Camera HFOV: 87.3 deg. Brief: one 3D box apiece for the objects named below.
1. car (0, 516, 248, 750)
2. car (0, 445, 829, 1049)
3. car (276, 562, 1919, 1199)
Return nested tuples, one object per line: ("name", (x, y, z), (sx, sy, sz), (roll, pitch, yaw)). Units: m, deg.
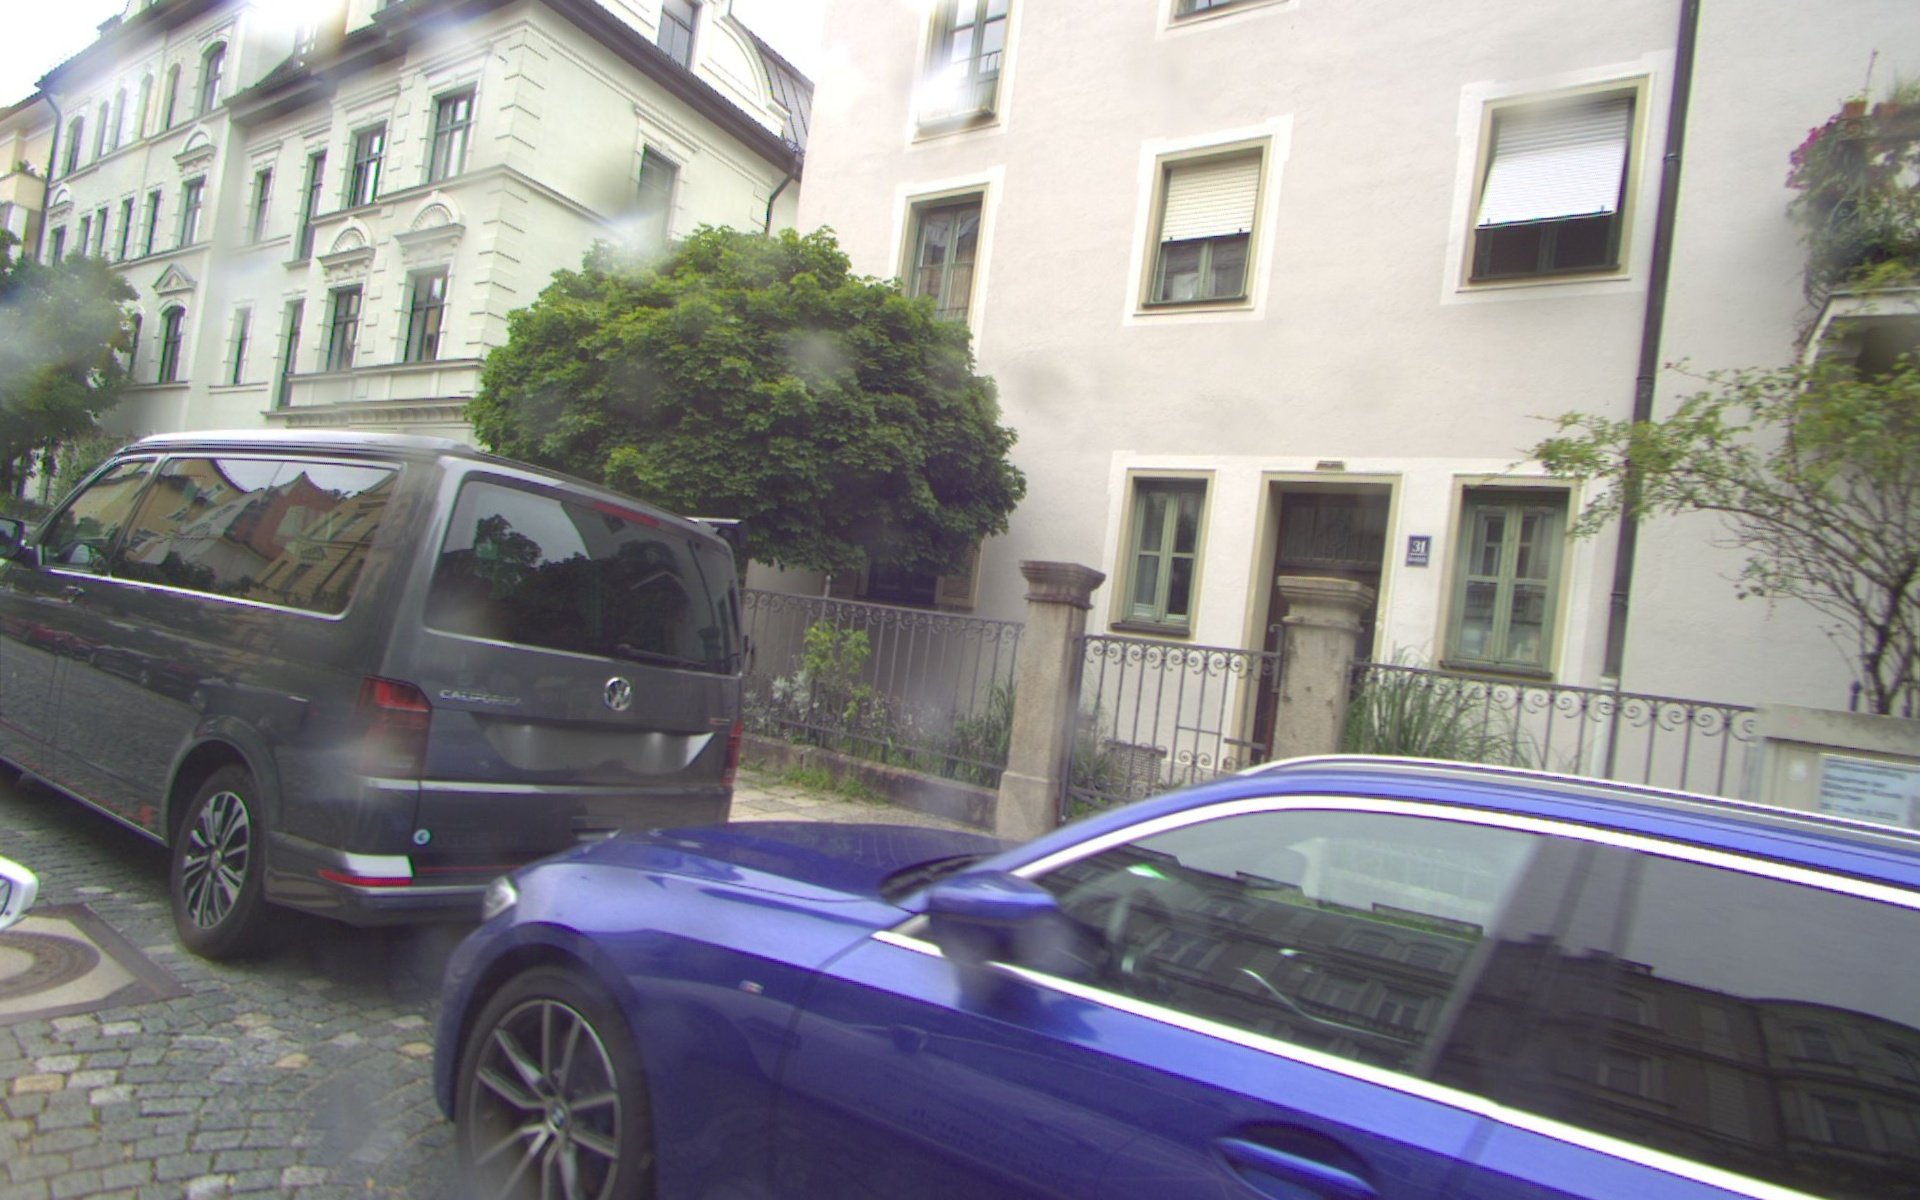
("car", (-7.888, 0.040, 8.041), (4.725, 1.449, 1.927), (6, -5, 35))
("car", (-3.230, 0.327, 5.088), (4.772, 1.709, 2.025), (7, -2, 33))
("car", (0.863, 0.997, 2.116), (4.796, 1.522, 1.934), (6, -4, 33))
